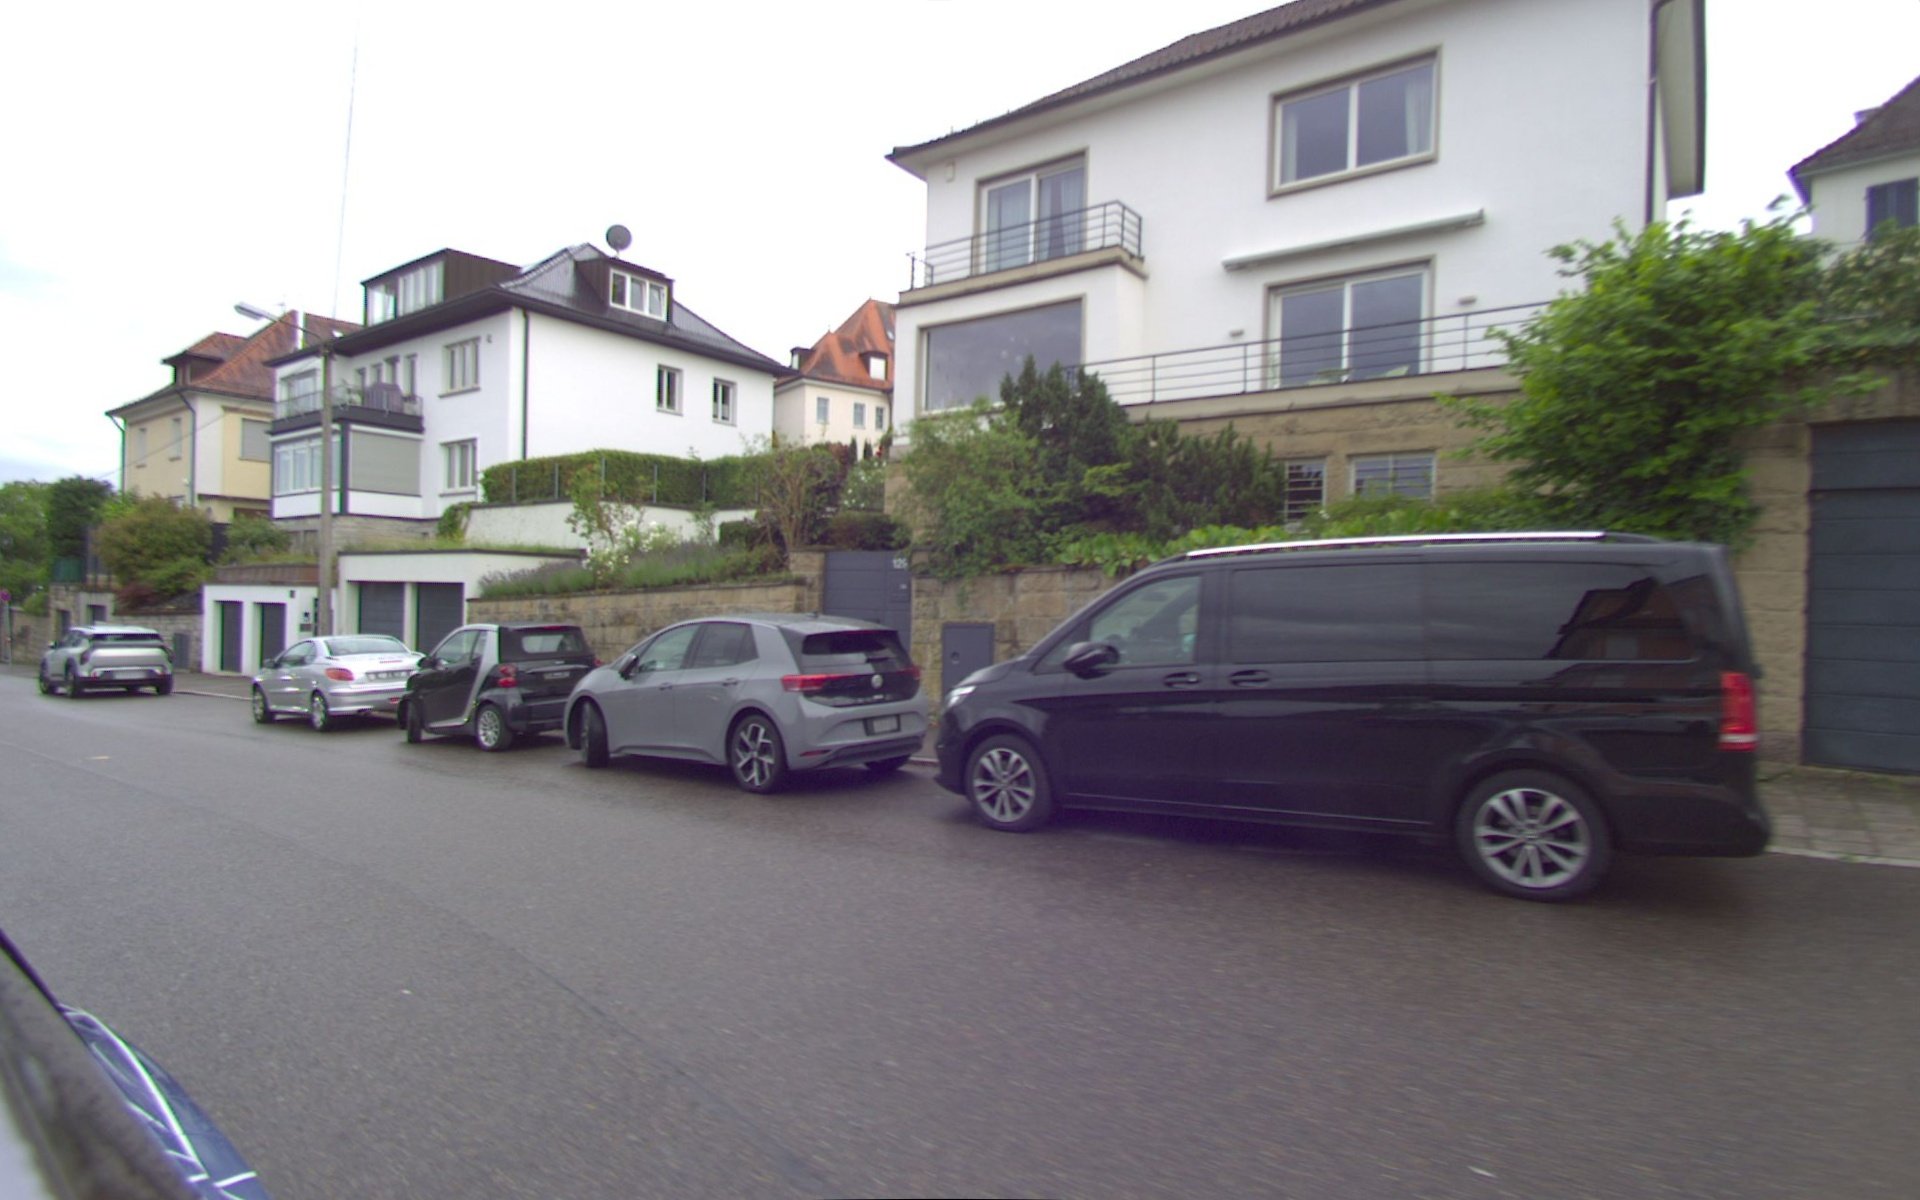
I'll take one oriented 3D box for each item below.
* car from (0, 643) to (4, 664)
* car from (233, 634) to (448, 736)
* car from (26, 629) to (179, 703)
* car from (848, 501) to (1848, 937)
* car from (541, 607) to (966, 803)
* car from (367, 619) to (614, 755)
[{"bbox_3d":[-69.654,3.680,70.356,1.839,1.554,4.896,1,-4,-2],"label":"car"},{"bbox_3d":[-9.705,1.250,15.756,3.835,1.348,1.594,-2,-1,38],"label":"car"},{"bbox_3d":[-20.010,1.475,23.579,4.232,1.579,1.880,-2,-3,38],"label":"car"},{"bbox_3d":[2.070,0.574,6.813,5.579,1.874,2.111,-2,-1,34],"label":"car"},{"bbox_3d":[-2.217,0.899,10.167,4.338,1.526,1.879,-2,-1,40],"label":"car"},{"bbox_3d":[-6.096,1.048,13.061,3.150,1.535,1.484,-2,-2,34],"label":"car"}]
